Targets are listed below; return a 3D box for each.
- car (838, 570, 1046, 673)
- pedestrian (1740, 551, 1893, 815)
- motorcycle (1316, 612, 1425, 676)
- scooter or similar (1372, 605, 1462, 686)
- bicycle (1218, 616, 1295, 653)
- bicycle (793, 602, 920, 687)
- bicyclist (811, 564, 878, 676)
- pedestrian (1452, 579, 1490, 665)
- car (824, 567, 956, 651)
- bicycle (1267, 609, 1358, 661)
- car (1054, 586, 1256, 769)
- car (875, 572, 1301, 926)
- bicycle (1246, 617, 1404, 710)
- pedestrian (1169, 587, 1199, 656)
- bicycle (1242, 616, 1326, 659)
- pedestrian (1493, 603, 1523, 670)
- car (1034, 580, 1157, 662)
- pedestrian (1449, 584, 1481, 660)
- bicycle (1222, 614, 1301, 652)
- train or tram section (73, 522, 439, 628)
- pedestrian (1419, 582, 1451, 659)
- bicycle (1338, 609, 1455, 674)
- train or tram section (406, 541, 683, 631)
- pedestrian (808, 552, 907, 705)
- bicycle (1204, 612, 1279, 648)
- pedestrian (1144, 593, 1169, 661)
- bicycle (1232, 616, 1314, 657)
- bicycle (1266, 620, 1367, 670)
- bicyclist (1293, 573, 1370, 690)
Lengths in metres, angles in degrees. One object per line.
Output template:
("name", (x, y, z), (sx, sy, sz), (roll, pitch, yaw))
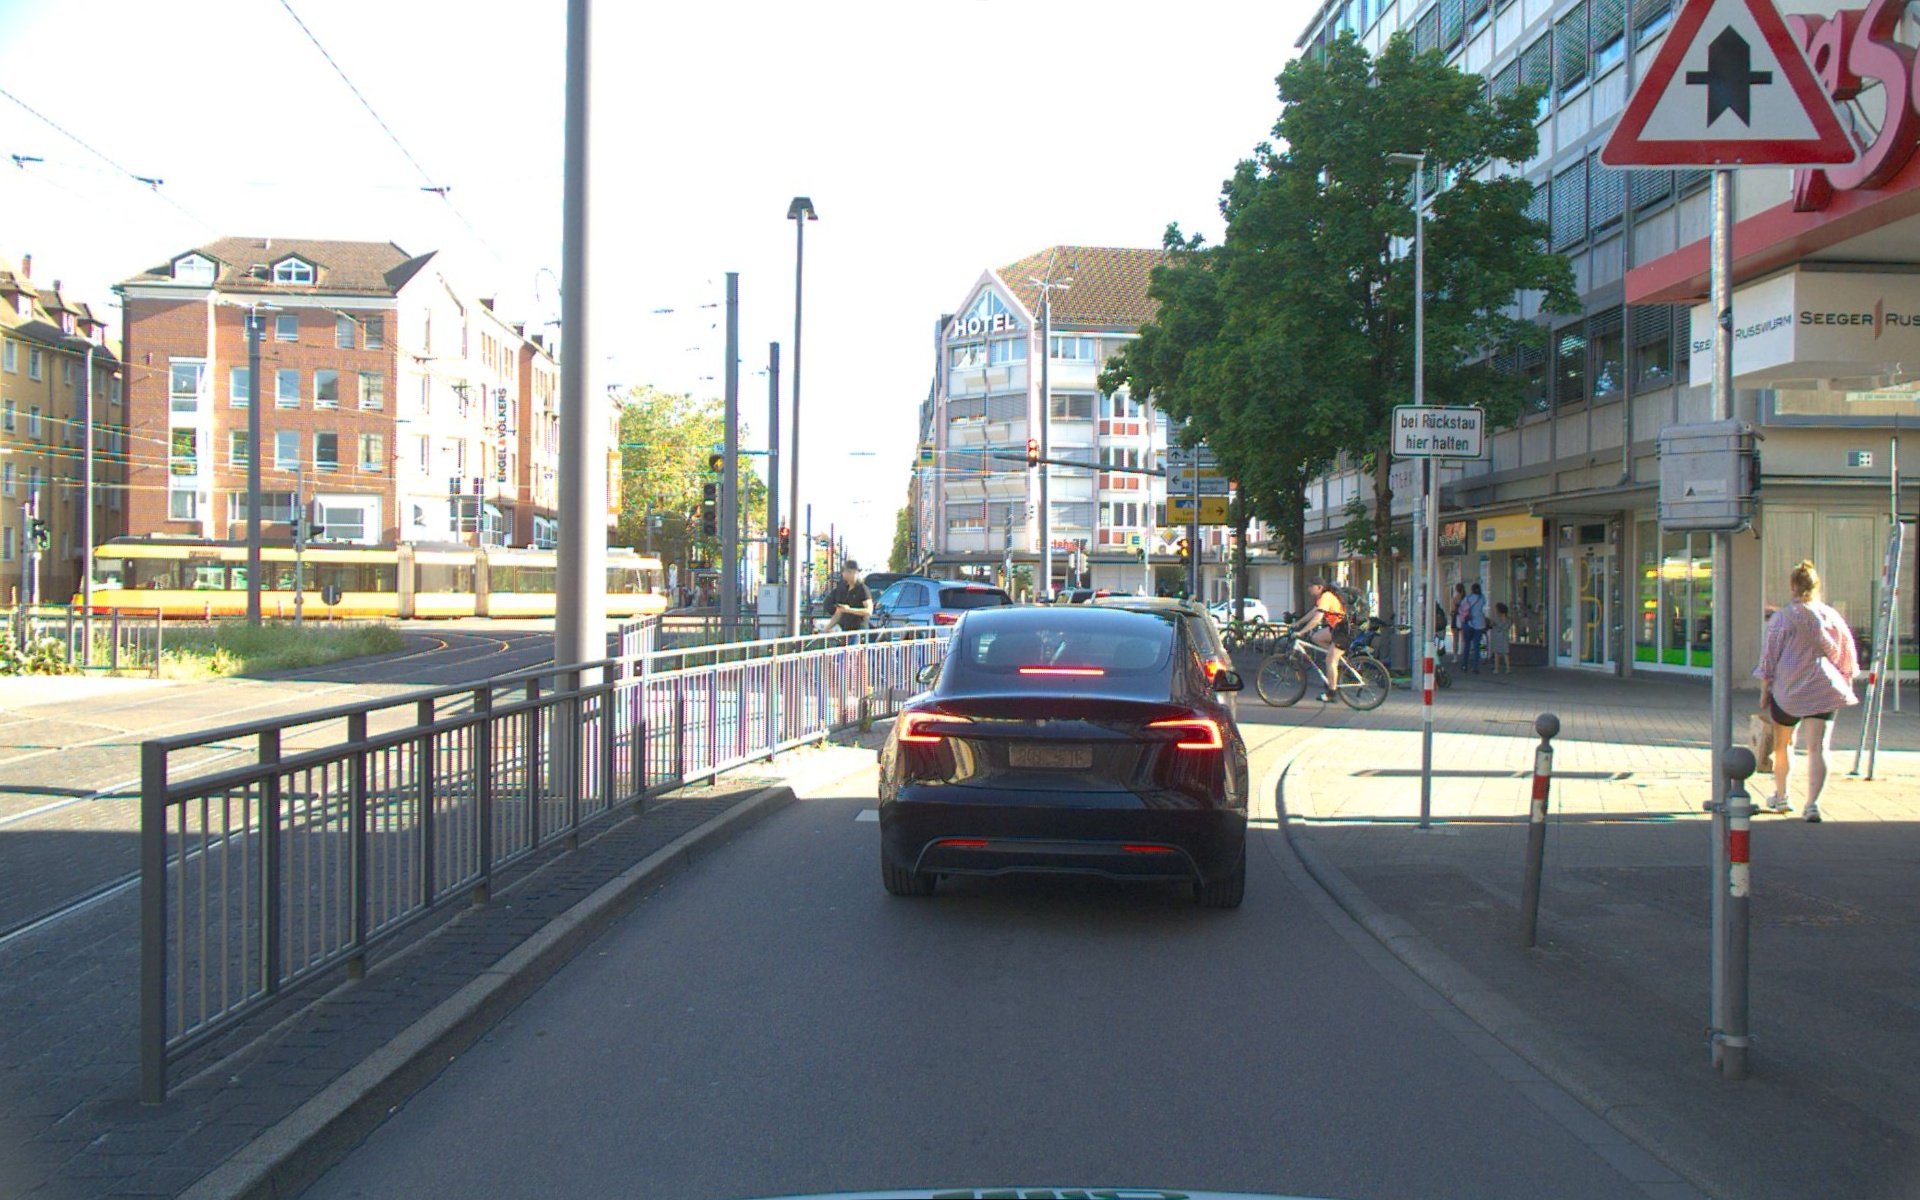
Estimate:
("car", (-0.392, 0.319, 27.641), (1.762, 1.545, 4.181), (3, 0, -27))
("pedestrian", (5.857, 0.548, 11.353), (0.800, 1.712, 0.714), (2, -1, 21))
("motorcycle", (8.051, 0.863, 32.443), (1.951, 1.147, 0.596), (3, 0, -3))
("scooter or similar", (7.751, 0.772, 28.033), (1.392, 1.340, 0.690), (1, -2, -28))
("bicycle", (7.641, 0.878, 42.687), (1.885, 0.906, 0.526), (1, 0, -1))
("bicycle", (-1.467, 0.628, 23.378), (1.697, 1.107, 0.676), (3, 0, -10))
("bicyclist", (-1.631, 0.277, 23.308), (0.821, 1.526, 0.558), (2, -1, -10))
("pedestrian", (10.040, 0.429, 32.519), (0.583, 1.670, 0.466), (0, 0, -1))
("car", (-1.516, 0.156, 33.939), (1.794, 1.545, 4.201), (3, 0, -15))
("bicycle", (7.787, 0.770, 36.543), (1.885, 1.116, 0.554), (1, 0, -1))
("car", (1.892, 0.627, 15.751), (1.618, 1.443, 4.003), (2, 1, 8))
("car", (0.477, 0.667, 9.185), (1.812, 1.510, 3.784), (2, 0, -4))
("bicycle", (4.759, 0.815, 21.556), (1.931, 1.091, 0.775), (2, 0, 16))
("pedestrian", (5.460, 0.514, 40.378), (0.616, 1.642, 0.643), (2, 0, 1))
("bicycle", (7.744, 0.891, 39.533), (1.885, 0.967, 0.526), (1, 0, -1))
("pedestrian", (10.729, 0.701, 32.405), (0.411, 1.303, 0.531), (0, 0, -1))
("car", (2.775, 0.422, 34.659), (1.790, 1.545, 3.643), (3, 0, -7))
("pedestrian", (11.138, 0.479, 36.505), (0.520, 1.670, 0.593), (0, 0, -1))
("bicycle", (7.594, 0.826, 41.677), (1.885, 0.903, 0.526), (1, 0, -1))
("train or tram section", (-29.623, -0.950, 70.338), (14.025, 3.780, 2.651), (3, 0, -35))
("pedestrian", (10.422, 0.453, 36.307), (0.520, 1.670, 0.606), (0, 0, -1))
("bicycle", (8.032, 0.758, 30.471), (2.010, 1.141, 0.482), (1, 0, -2))
("train or tram section", (-19.683, -0.527, 80.336), (2.590, 3.783, 15.342), (2, 0, 33))
("pedestrian", (-1.225, 0.341, 19.764), (0.992, 1.772, 0.524), (3, -1, -28))
("bicycle", (7.434, 0.792, 43.696), (1.885, 0.906, 0.526), (1, 0, -1))
("pedestrian", (5.065, 0.688, 42.632), (0.550, 1.712, 0.750), (2, 0, 2))
("bicycle", (7.672, 0.892, 40.547), (1.885, 0.967, 0.526), (1, 0, -1))
("bicycle", (7.459, 0.931, 34.628), (2.010, 0.999, 0.482), (1, 0, -2))
("bicyclist", (4.839, 0.405, 21.530), (0.888, 1.463, 0.629), (2, -1, 16))
